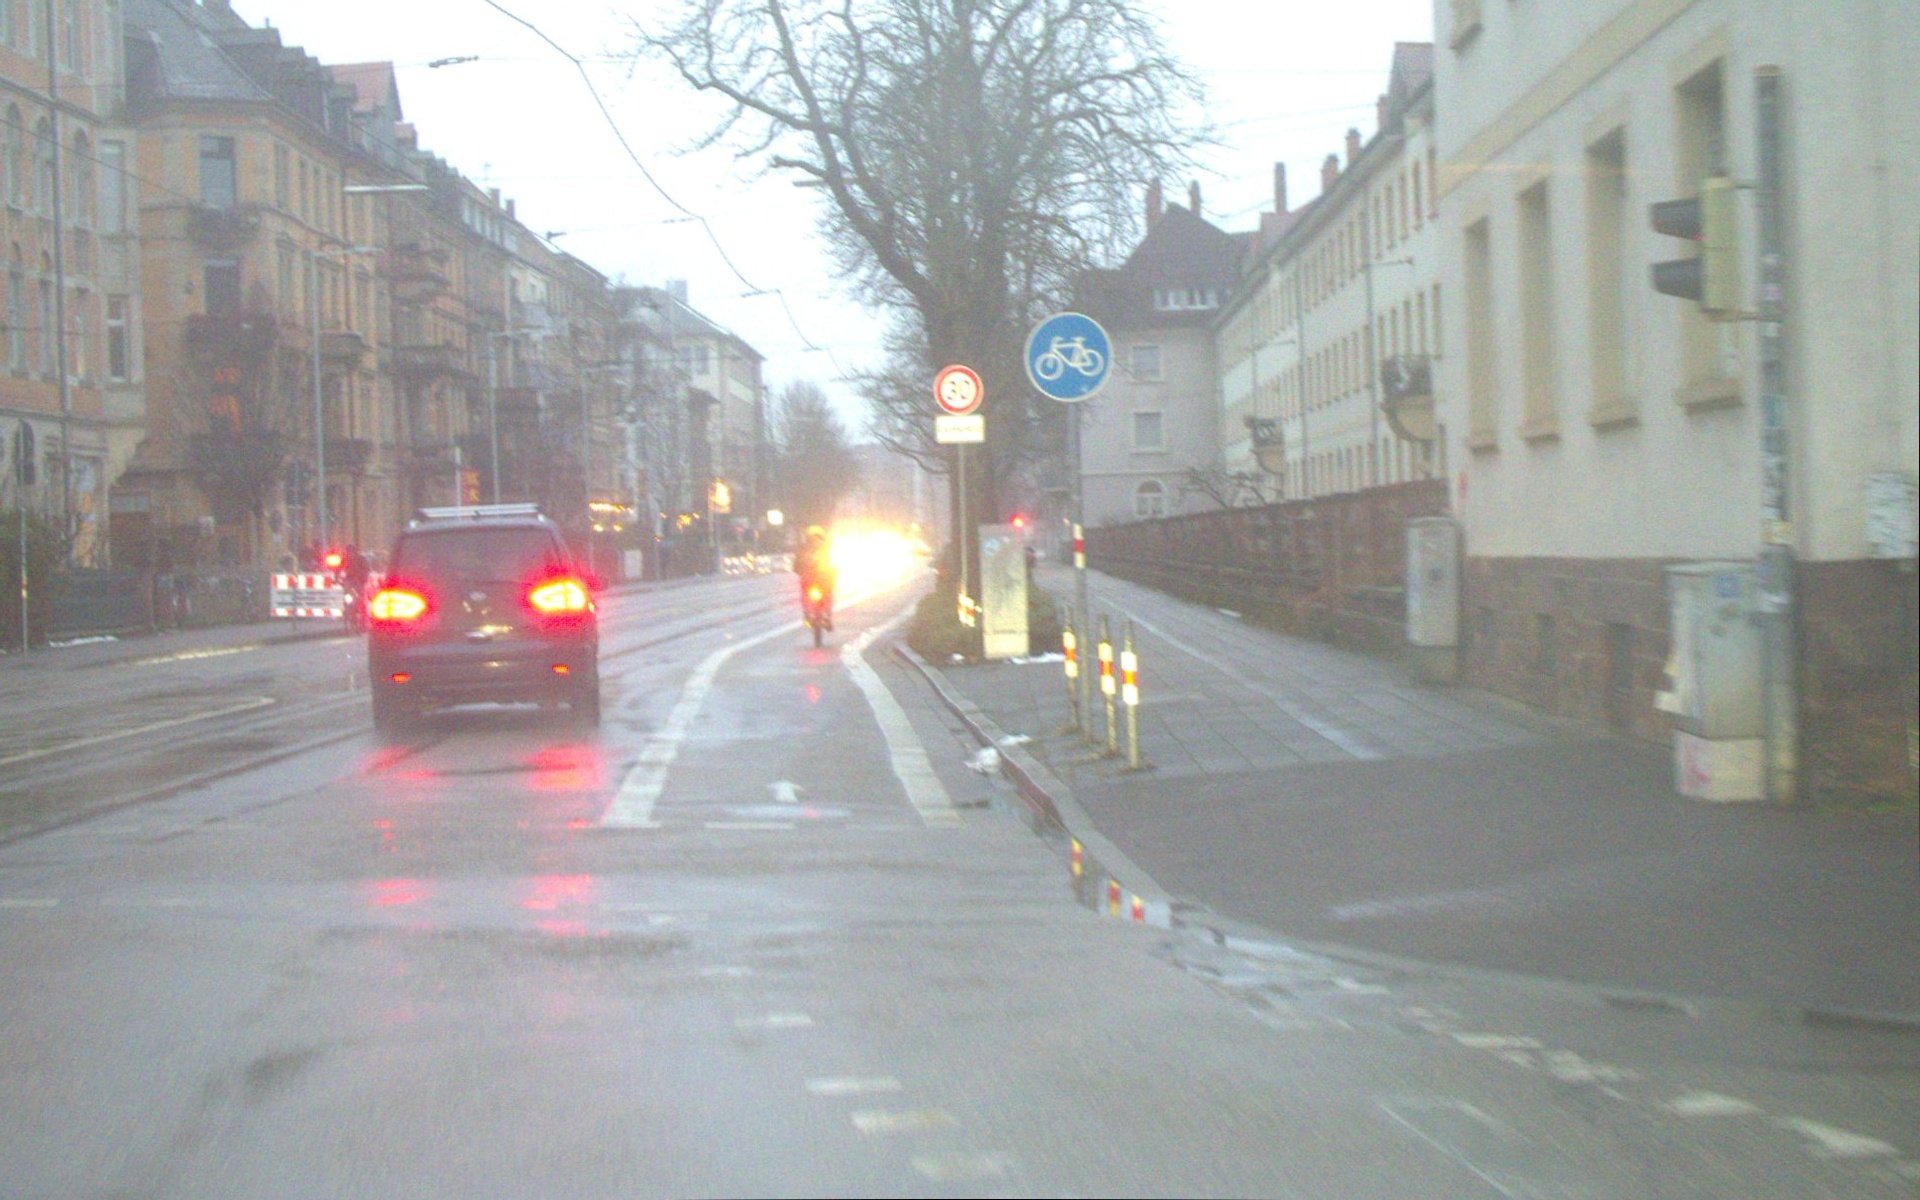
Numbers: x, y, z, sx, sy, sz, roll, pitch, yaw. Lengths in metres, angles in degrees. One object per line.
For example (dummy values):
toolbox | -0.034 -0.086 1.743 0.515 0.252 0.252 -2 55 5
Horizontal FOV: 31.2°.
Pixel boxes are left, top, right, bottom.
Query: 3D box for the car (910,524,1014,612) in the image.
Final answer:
car | 0.041 -0.608 62.643 1.785 1.504 3.988 -2 1 0

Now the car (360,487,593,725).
car | -4.110 0.002 29.196 1.801 1.864 4.019 1 1 -8

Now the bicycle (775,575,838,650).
bicycle | -2.165 0.169 48.589 0.731 1.003 1.764 -1 1 2

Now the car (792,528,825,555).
car | -10.098 -3.899 229.790 1.923 1.714 4.000 -2 1 1

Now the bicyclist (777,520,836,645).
bicyclist | -2.173 -0.251 48.624 0.730 1.730 0.765 -1 1 2

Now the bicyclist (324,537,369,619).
bicyclist | -12.149 -0.442 68.083 0.684 1.610 0.765 -1 1 2

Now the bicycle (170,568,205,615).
bicycle | -15.717 -0.175 69.968 0.263 0.912 1.685 4 1 0
